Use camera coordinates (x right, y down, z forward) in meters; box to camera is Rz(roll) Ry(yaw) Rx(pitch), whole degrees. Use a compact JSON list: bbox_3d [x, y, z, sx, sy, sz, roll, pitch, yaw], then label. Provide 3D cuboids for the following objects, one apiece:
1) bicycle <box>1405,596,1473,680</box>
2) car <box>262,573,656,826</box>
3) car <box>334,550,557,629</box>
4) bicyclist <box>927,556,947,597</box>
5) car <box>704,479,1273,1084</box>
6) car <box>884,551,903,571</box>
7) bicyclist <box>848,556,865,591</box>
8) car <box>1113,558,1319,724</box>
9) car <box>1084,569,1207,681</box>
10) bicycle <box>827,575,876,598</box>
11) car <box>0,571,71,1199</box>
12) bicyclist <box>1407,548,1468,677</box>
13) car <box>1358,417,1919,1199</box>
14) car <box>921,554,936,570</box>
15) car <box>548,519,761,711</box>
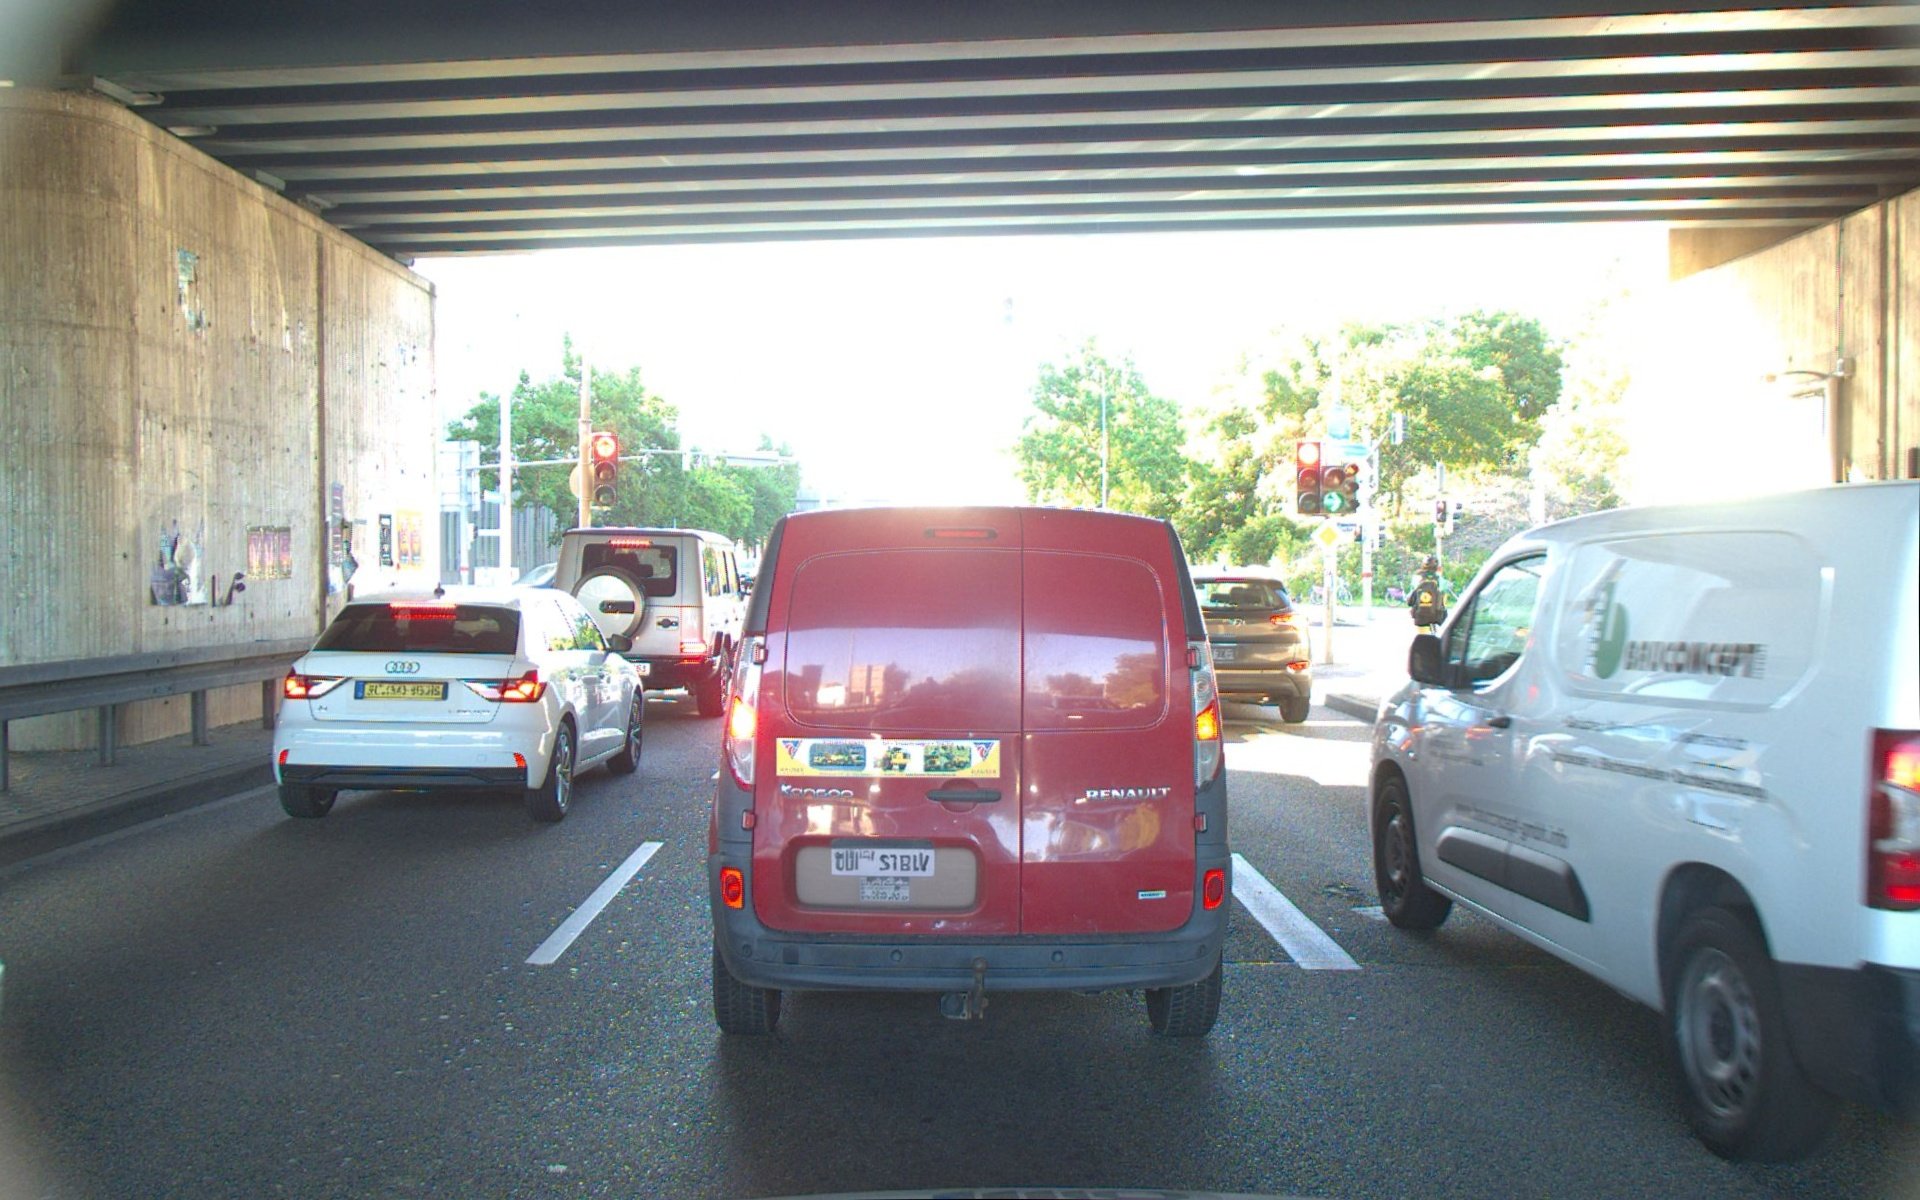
[{"bbox_3d":[6.243,0.486,21.606,0.662,1.042,1.530,1,0,10],"label":"bicycle"},{"bbox_3d":[-3.233,0.563,11.440,1.658,1.434,3.812,1,0,-2],"label":"car"},{"bbox_3d":[-11.356,-0.201,36.713,1.964,1.635,4.335,1,0,41],"label":"car"},{"bbox_3d":[-0.882,-0.917,63.804,0.739,1.569,0.696,0,0,0],"label":"bicyclist"},{"bbox_3d":[0.060,0.536,6.976,1.684,1.795,3.999,1,0,-1],"label":"car"},{"bbox_3d":[-7.198,-4.176,178.709,1.953,2.049,3.999,1,0,-1],"label":"car"},{"bbox_3d":[-4.029,-1.025,64.256,0.640,1.352,0.602,1,0,-4],"label":"bicyclist"},{"bbox_3d":[2.808,0.397,18.960,1.741,1.684,3.990,0,1,0],"label":"car"},{"bbox_3d":[2.835,0.329,25.915,1.618,1.579,3.865,1,1,2],"label":"car"},{"bbox_3d":[-4.201,-0.517,64.222,1.875,0.882,0.605,0,0,-5],"label":"bicycle"},{"bbox_3d":[-2.938,0.674,1.846,1.662,1.480,4.396,1,0,-3],"label":"car"},{"bbox_3d":[6.259,0.161,21.699,0.663,1.657,0.644,1,0,10],"label":"bicyclist"},{"bbox_3d":[2.907,0.497,5.838,1.777,1.865,4.298,1,1,-3],"label":"car"},{"bbox_3d":[-4.162,-5.075,220.660,1.953,2.049,3.999,1,0,-1],"label":"car"},{"bbox_3d":[-3.345,0.140,18.796,1.777,1.937,3.812,1,0,-2],"label":"car"}]
